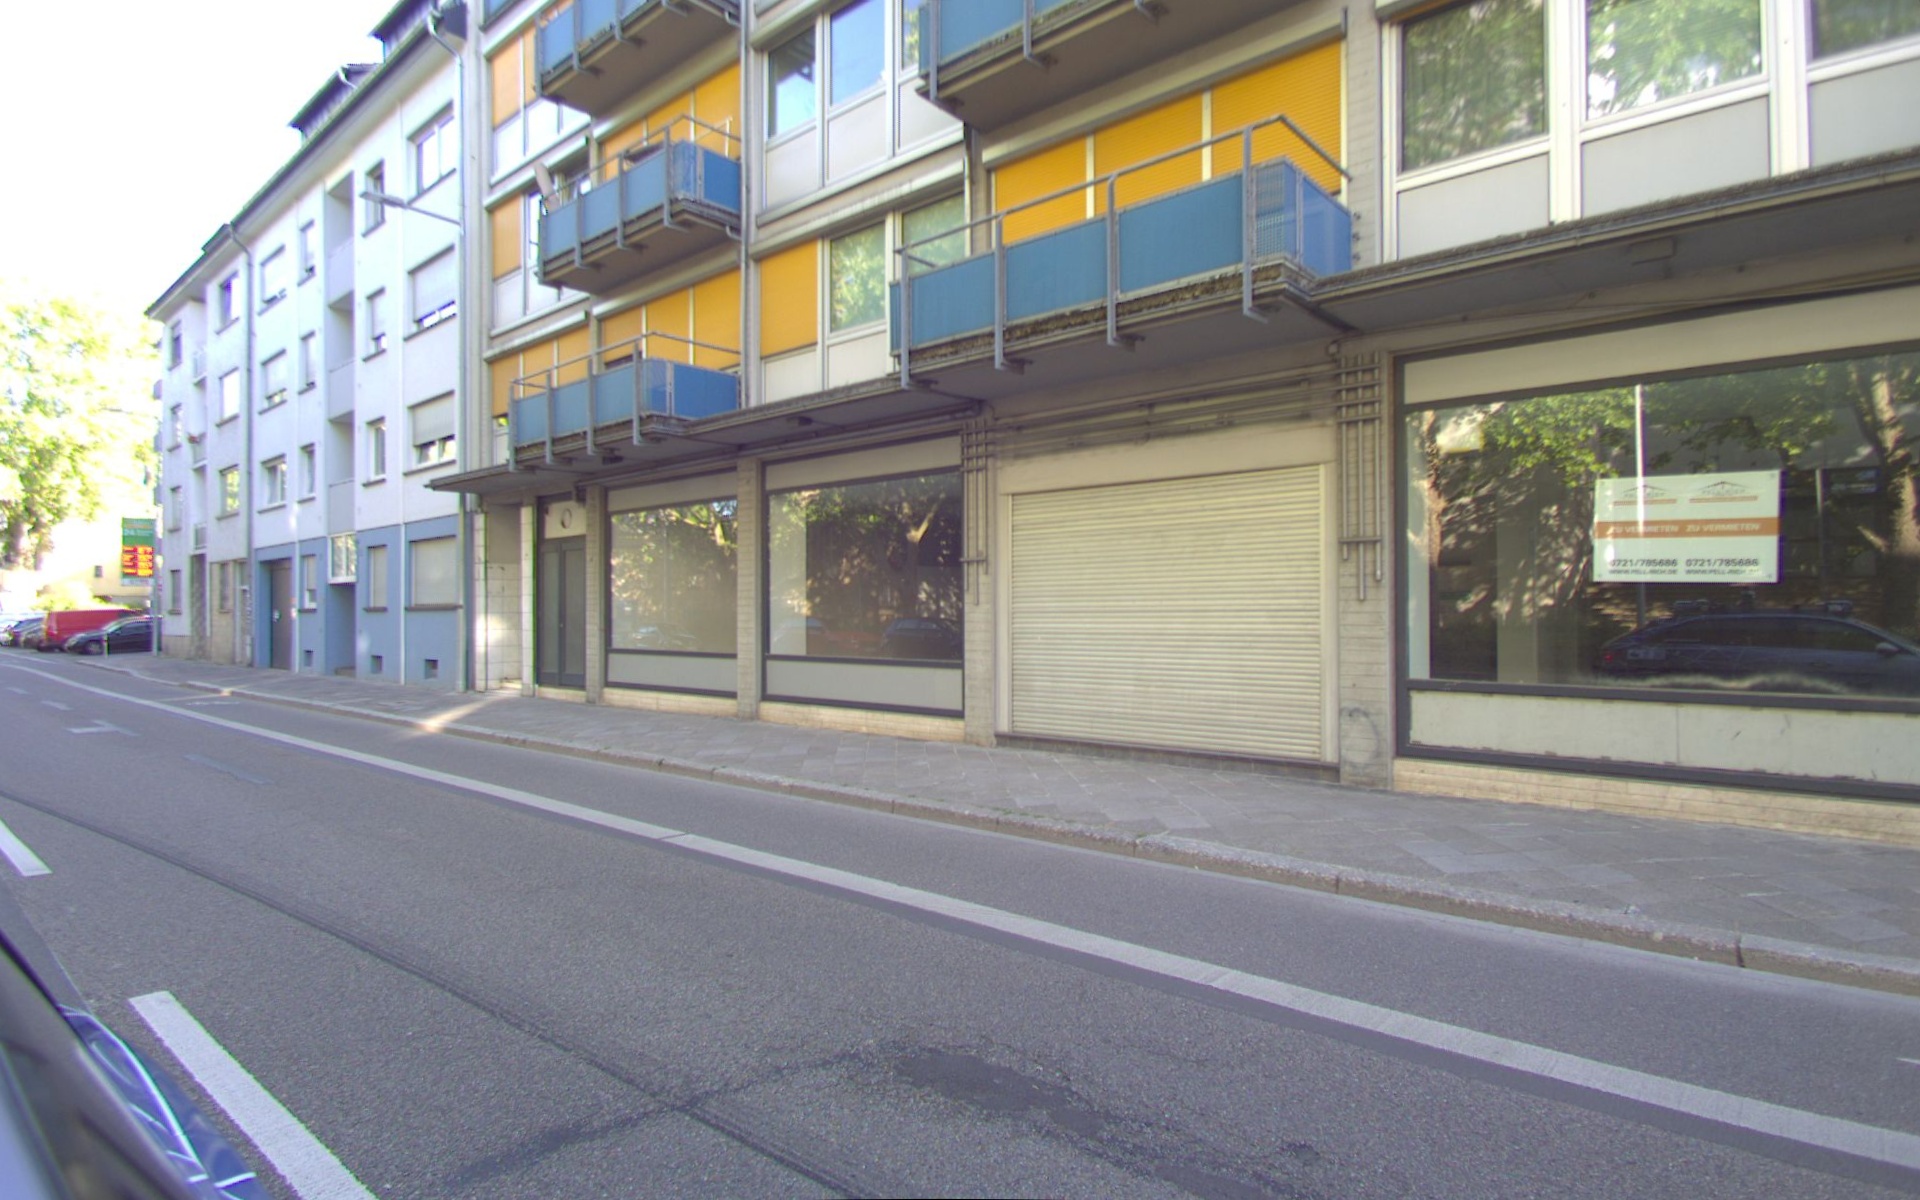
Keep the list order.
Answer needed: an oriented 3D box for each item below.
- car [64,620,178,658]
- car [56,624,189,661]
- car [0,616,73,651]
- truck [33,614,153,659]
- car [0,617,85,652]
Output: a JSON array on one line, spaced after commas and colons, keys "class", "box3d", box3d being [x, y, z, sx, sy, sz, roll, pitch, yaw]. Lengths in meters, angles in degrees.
[{"class": "car", "box3d": [-38.038, 1.741, 45.943, 1.657, 1.583, 3.762, -1, 0, 41]}, {"class": "car", "box3d": [-36.488, 1.804, 44.160, 1.657, 1.417, 4.269, -1, 0, 40]}, {"class": "car", "box3d": [-59.335, 2.108, 64.404, 2.000, 2.052, 4.180, -1, 0, 43]}, {"class": "truck", "box3d": [-40.715, 1.659, 47.575, 1.999, 1.939, 4.040, -1, 0, 40]}, {"class": "car", "box3d": [-56.051, 2.079, 61.474, 2.000, 1.971, 4.180, -1, 0, 43]}]
